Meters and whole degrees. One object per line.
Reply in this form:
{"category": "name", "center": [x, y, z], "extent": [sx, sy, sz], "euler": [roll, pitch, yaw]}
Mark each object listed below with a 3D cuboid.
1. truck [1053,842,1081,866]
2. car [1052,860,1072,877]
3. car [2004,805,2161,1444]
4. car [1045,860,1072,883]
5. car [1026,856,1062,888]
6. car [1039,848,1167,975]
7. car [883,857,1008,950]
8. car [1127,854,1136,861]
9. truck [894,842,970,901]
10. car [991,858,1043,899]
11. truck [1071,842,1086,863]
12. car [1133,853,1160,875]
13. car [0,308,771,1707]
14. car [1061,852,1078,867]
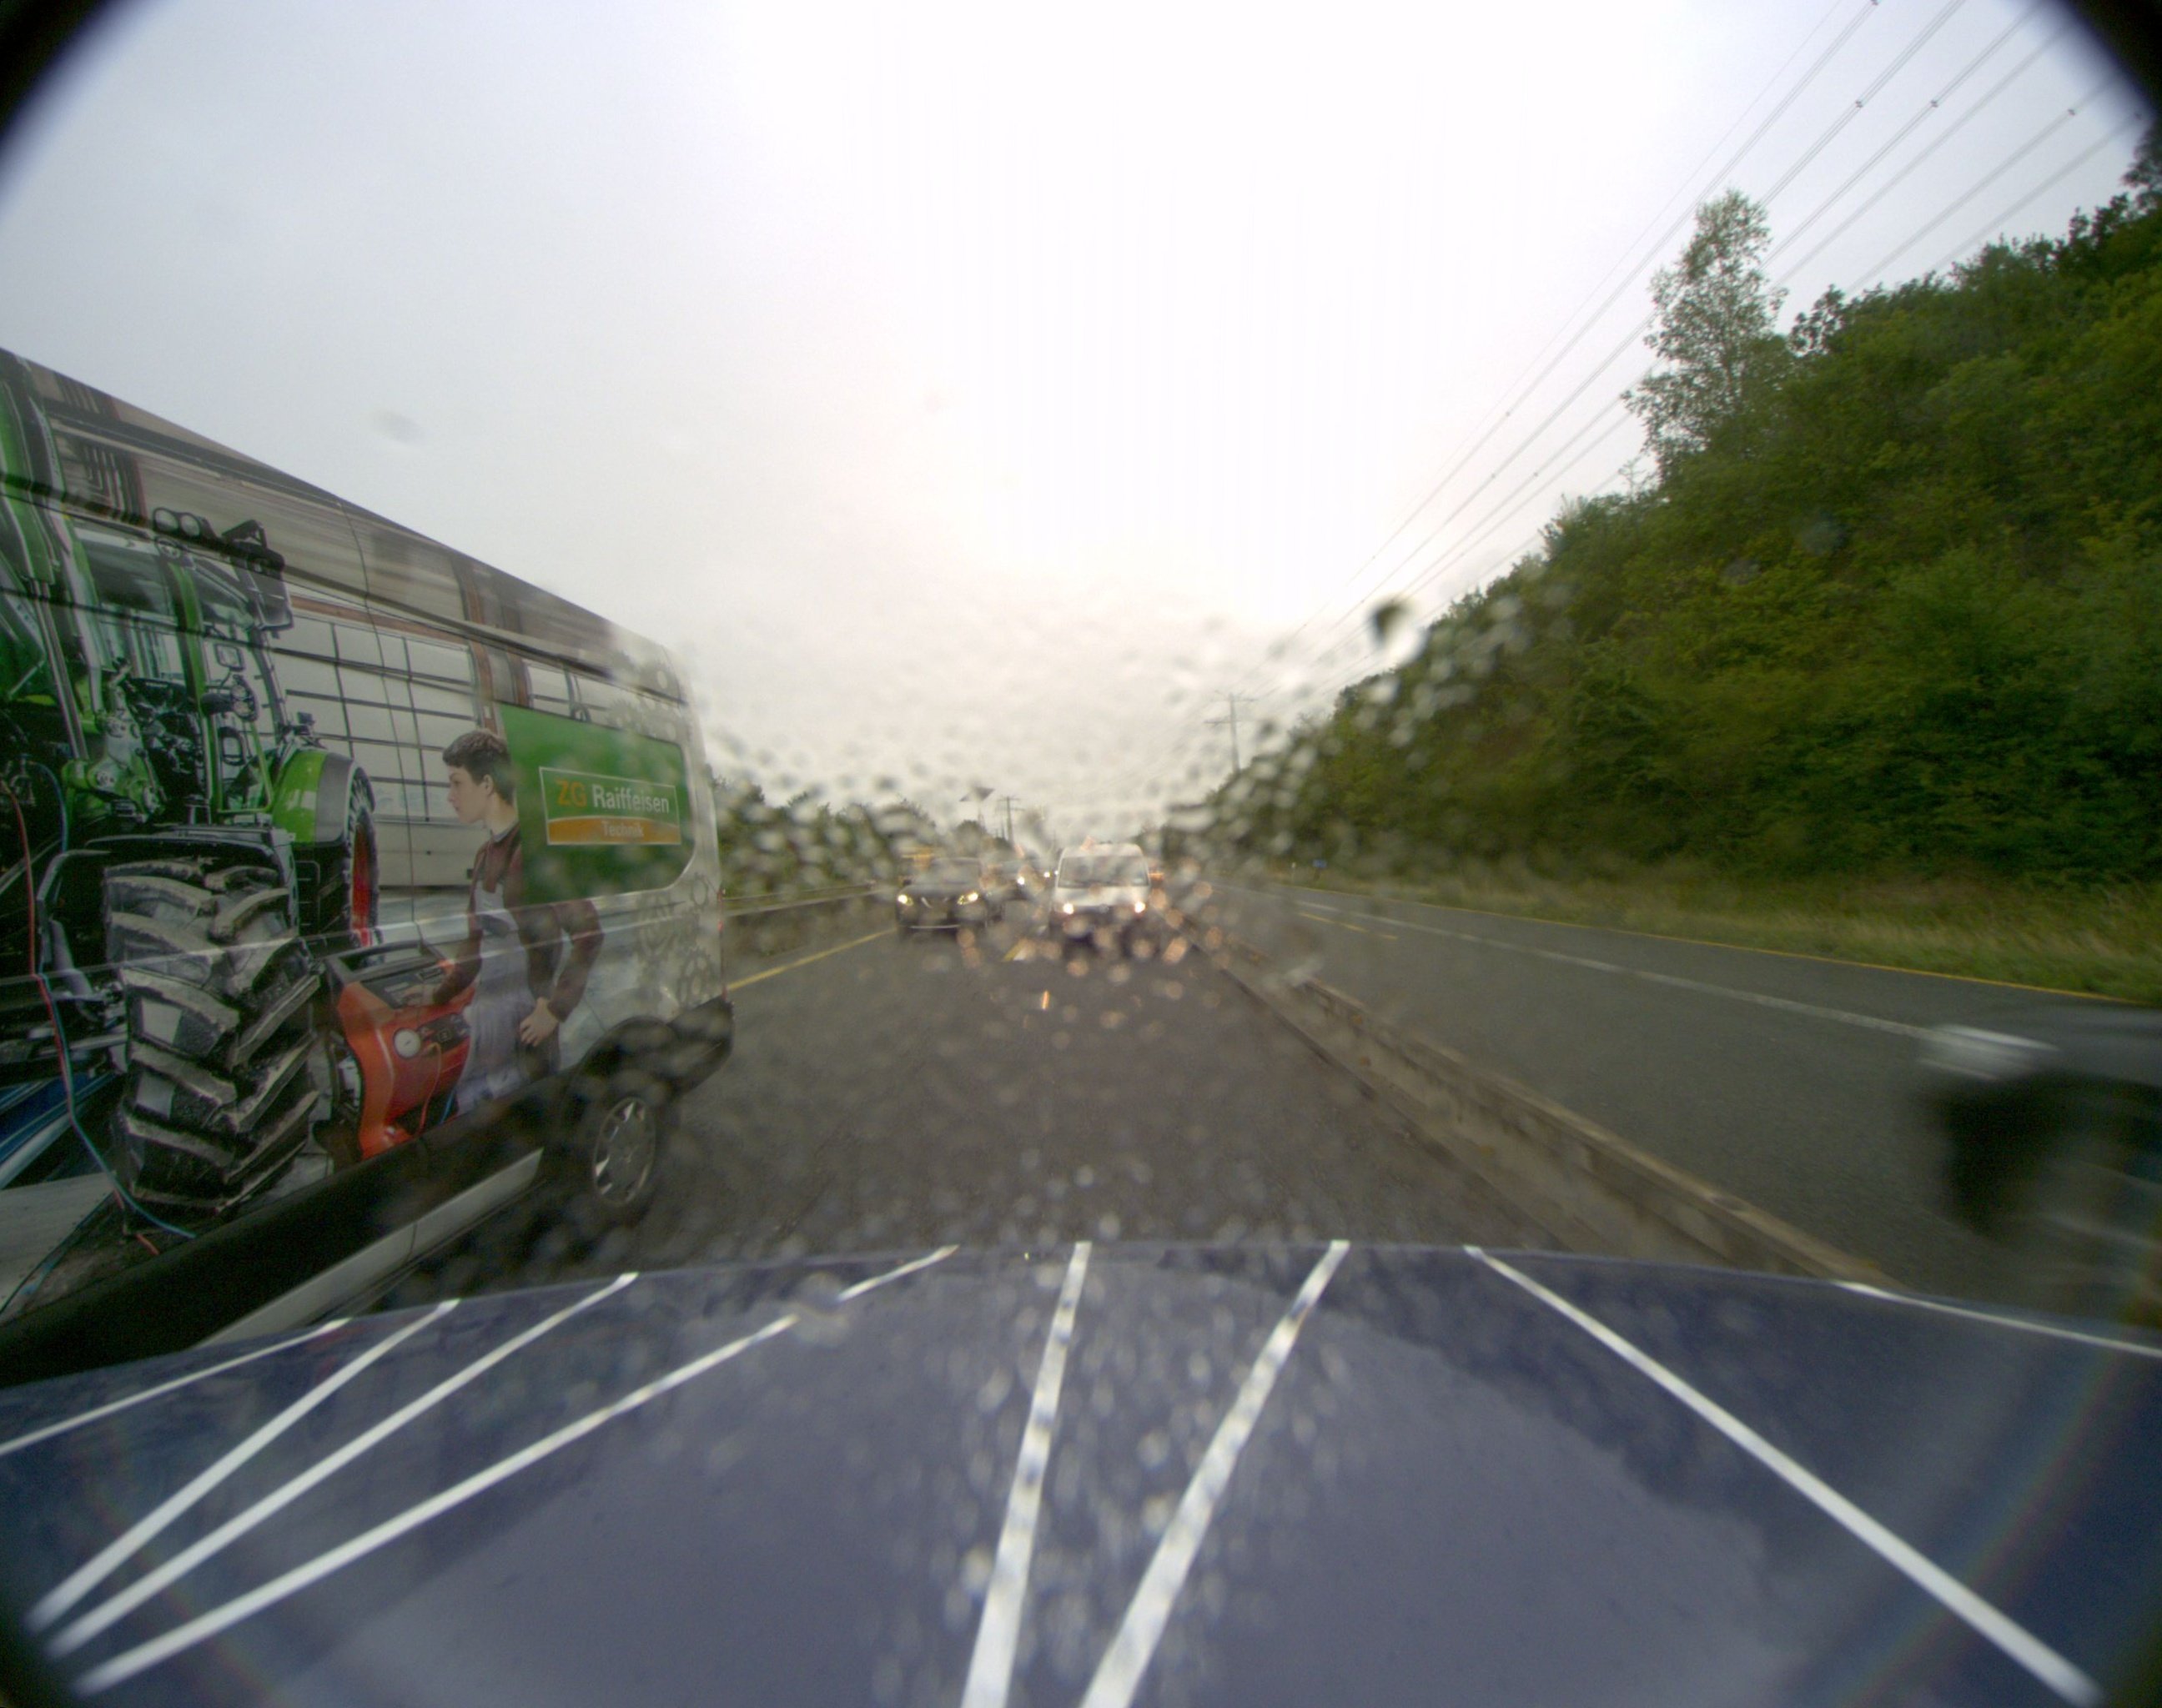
{"category": "truck", "center": [-2.165, -0.012, 113.272], "extent": [2.621, 3.404, 9.566], "euler": [-2, 0, -11]}
{"category": "car", "center": [-1.773, 1.351, 72.372], "extent": [1.784, 1.482, 4.123], "euler": [-2, 0, 0]}
{"category": "car", "center": [3.553, 0.672, 0.148], "extent": [1.814, 1.623, 4.118], "euler": [-2, 0, 2]}
{"category": "car", "center": [-1.615, 1.256, 55.685], "extent": [1.784, 1.482, 4.123], "euler": [-2, 0, 0]}
{"category": "car", "center": [-2.044, 0.970, 42.908], "extent": [1.784, 1.589, 4.123], "euler": [-2, 0, 0]}
{"category": "car", "center": [0.319, 0.809, 13.272], "extent": [1.784, 1.775, 4.697], "euler": [-2, 0, 0]}
{"category": "car", "center": [-2.826, 0.968, 16.939], "extent": [1.894, 1.665, 4.640], "euler": [-2, 0, 0]}
{"category": "car", "center": [10.758, 0.763, 162.103], "extent": [1.778, 1.442, 4.449], "euler": [-2, 0, 1]}
{"category": "truck", "center": [-9.537, 1.017, 49.801], "extent": [2.619, 3.404, 9.576], "euler": [-2, 0, 2]}
{"category": "car", "center": [-2.620, 0.984, 31.934], "extent": [1.784, 1.482, 4.123], "euler": [-2, 0, 0]}
{"category": "truck", "center": [-0.493, -0.267, 148.776], "extent": [2.619, 3.868, 9.574], "euler": [-2, 0, 0]}
{"category": "car", "center": [4.943, 0.712, 57.781], "extent": [1.799, 1.546, 4.000], "euler": [-2, 0, 1]}
{"category": "car", "center": [-2.958, 0.393, 1.277], "extent": [2.149, 2.660, 6.117], "euler": [-2, 0, 1]}
{"category": "car", "center": [-1.257, 0.574, 83.596], "extent": [1.784, 1.482, 4.123], "euler": [-2, 0, 0]}
